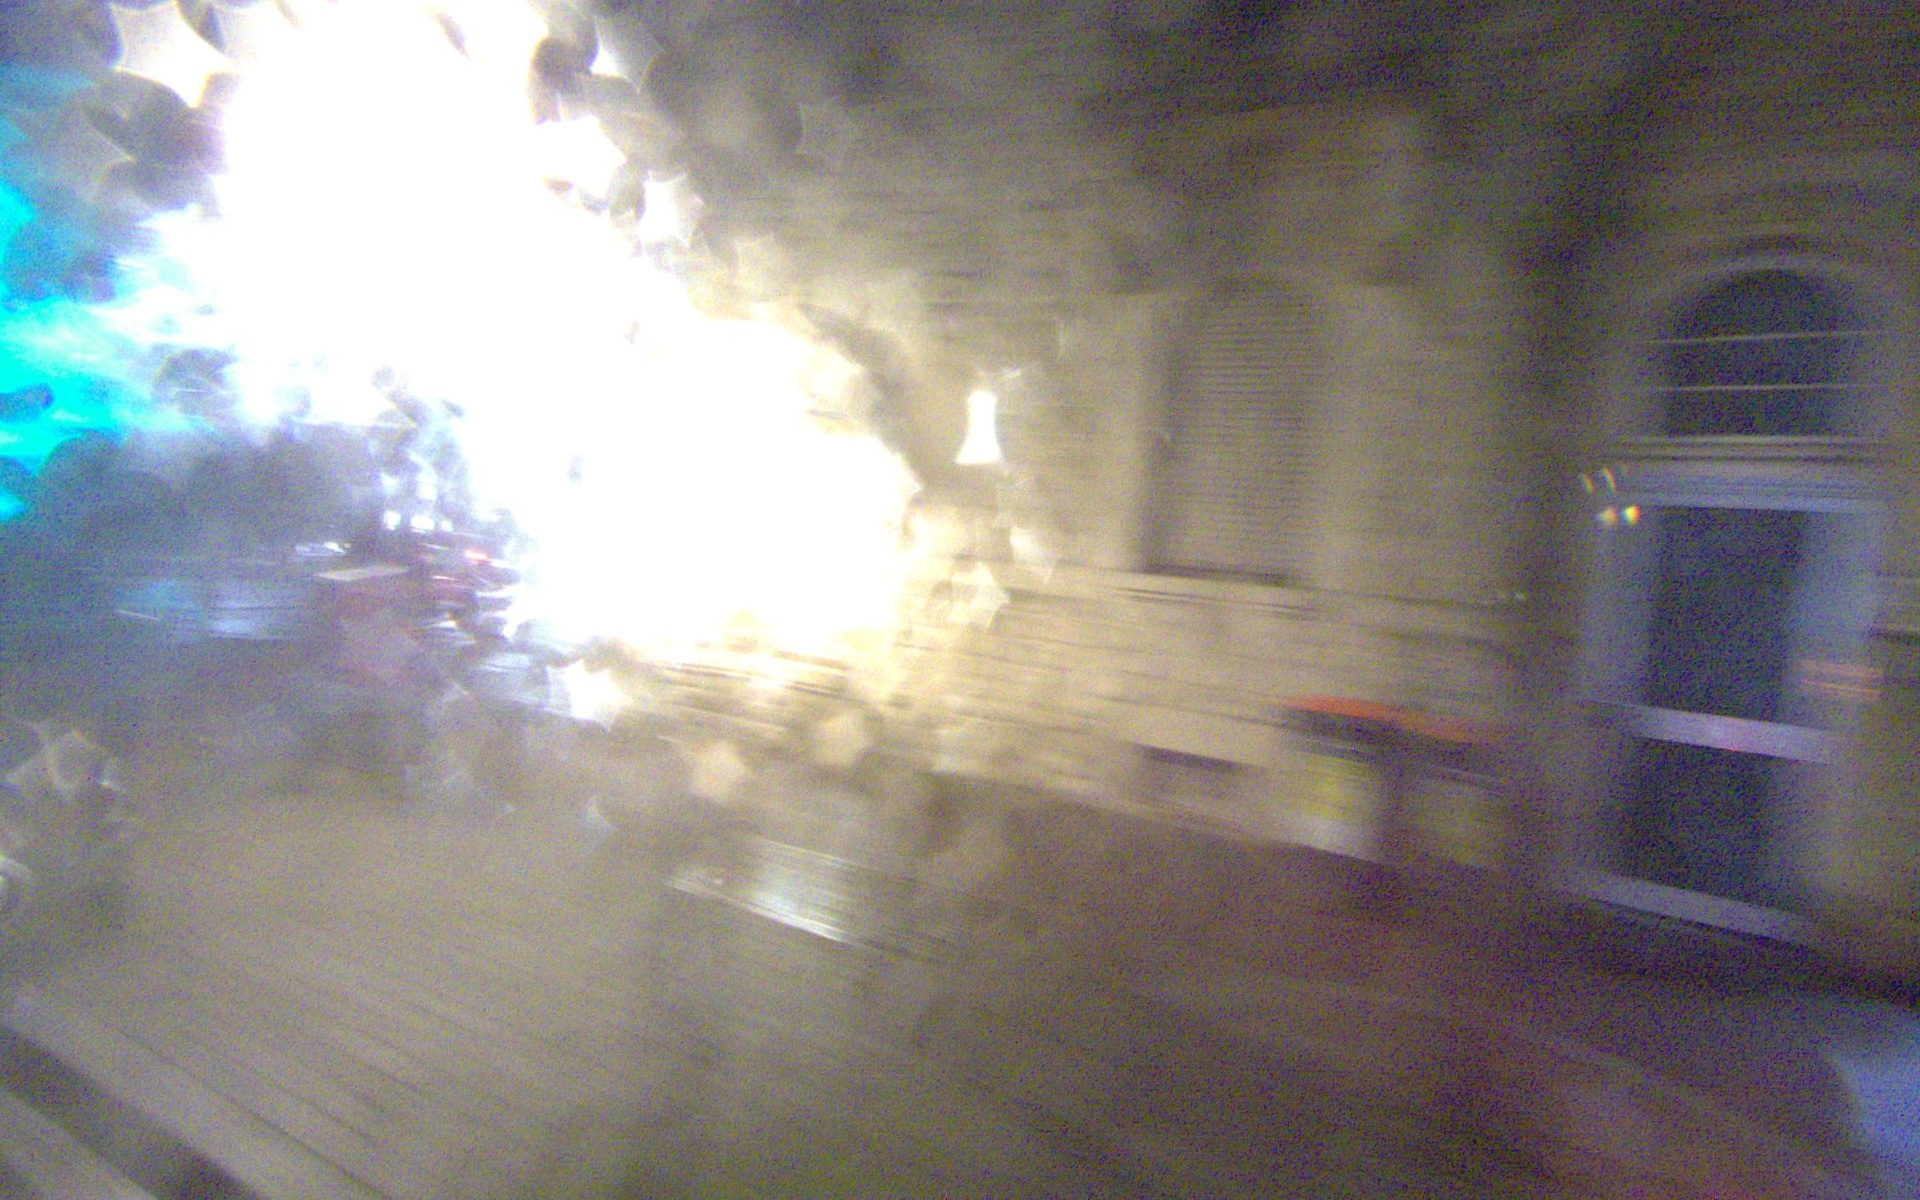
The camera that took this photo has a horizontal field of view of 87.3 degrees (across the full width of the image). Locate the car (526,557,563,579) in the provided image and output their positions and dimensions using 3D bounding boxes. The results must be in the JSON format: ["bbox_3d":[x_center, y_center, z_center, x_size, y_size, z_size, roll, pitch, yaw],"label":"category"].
[{"bbox_3d":[-34.350,-2.645,83.334,1.645,1.402,3.998,9,-2,-7],"label":"car"}]

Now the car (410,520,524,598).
[{"bbox_3d":[-18.757,-1.463,38.585,2.187,2.471,5.375,8,-1,-9],"label":"car"}]

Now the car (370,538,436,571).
[{"bbox_3d":[-30.758,-2.478,55.707,1.743,1.423,4.134,9,-1,-9],"label":"car"}]

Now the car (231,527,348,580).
[{"bbox_3d":[-29.220,-1.962,44.098,1.967,1.847,5.299,10,0,-8],"label":"car"}]

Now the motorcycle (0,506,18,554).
[{"bbox_3d":[-26.419,-1.973,26.405,0.699,1.245,2.317,5,-1,37],"label":"motorcycle"}]

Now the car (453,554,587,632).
[{"bbox_3d":[-9.507,-0.159,22.053,1.621,1.460,4.049,3,0,-9],"label":"car"}]

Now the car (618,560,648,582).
[{"bbox_3d":[-32.449,-2.844,99.944,1.898,1.903,4.631,5,0,-7],"label":"car"}]

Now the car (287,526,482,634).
[{"bbox_3d":[-9.541,-0.313,16.992,1.623,1.544,3.575,3,0,-9],"label":"car"}]
